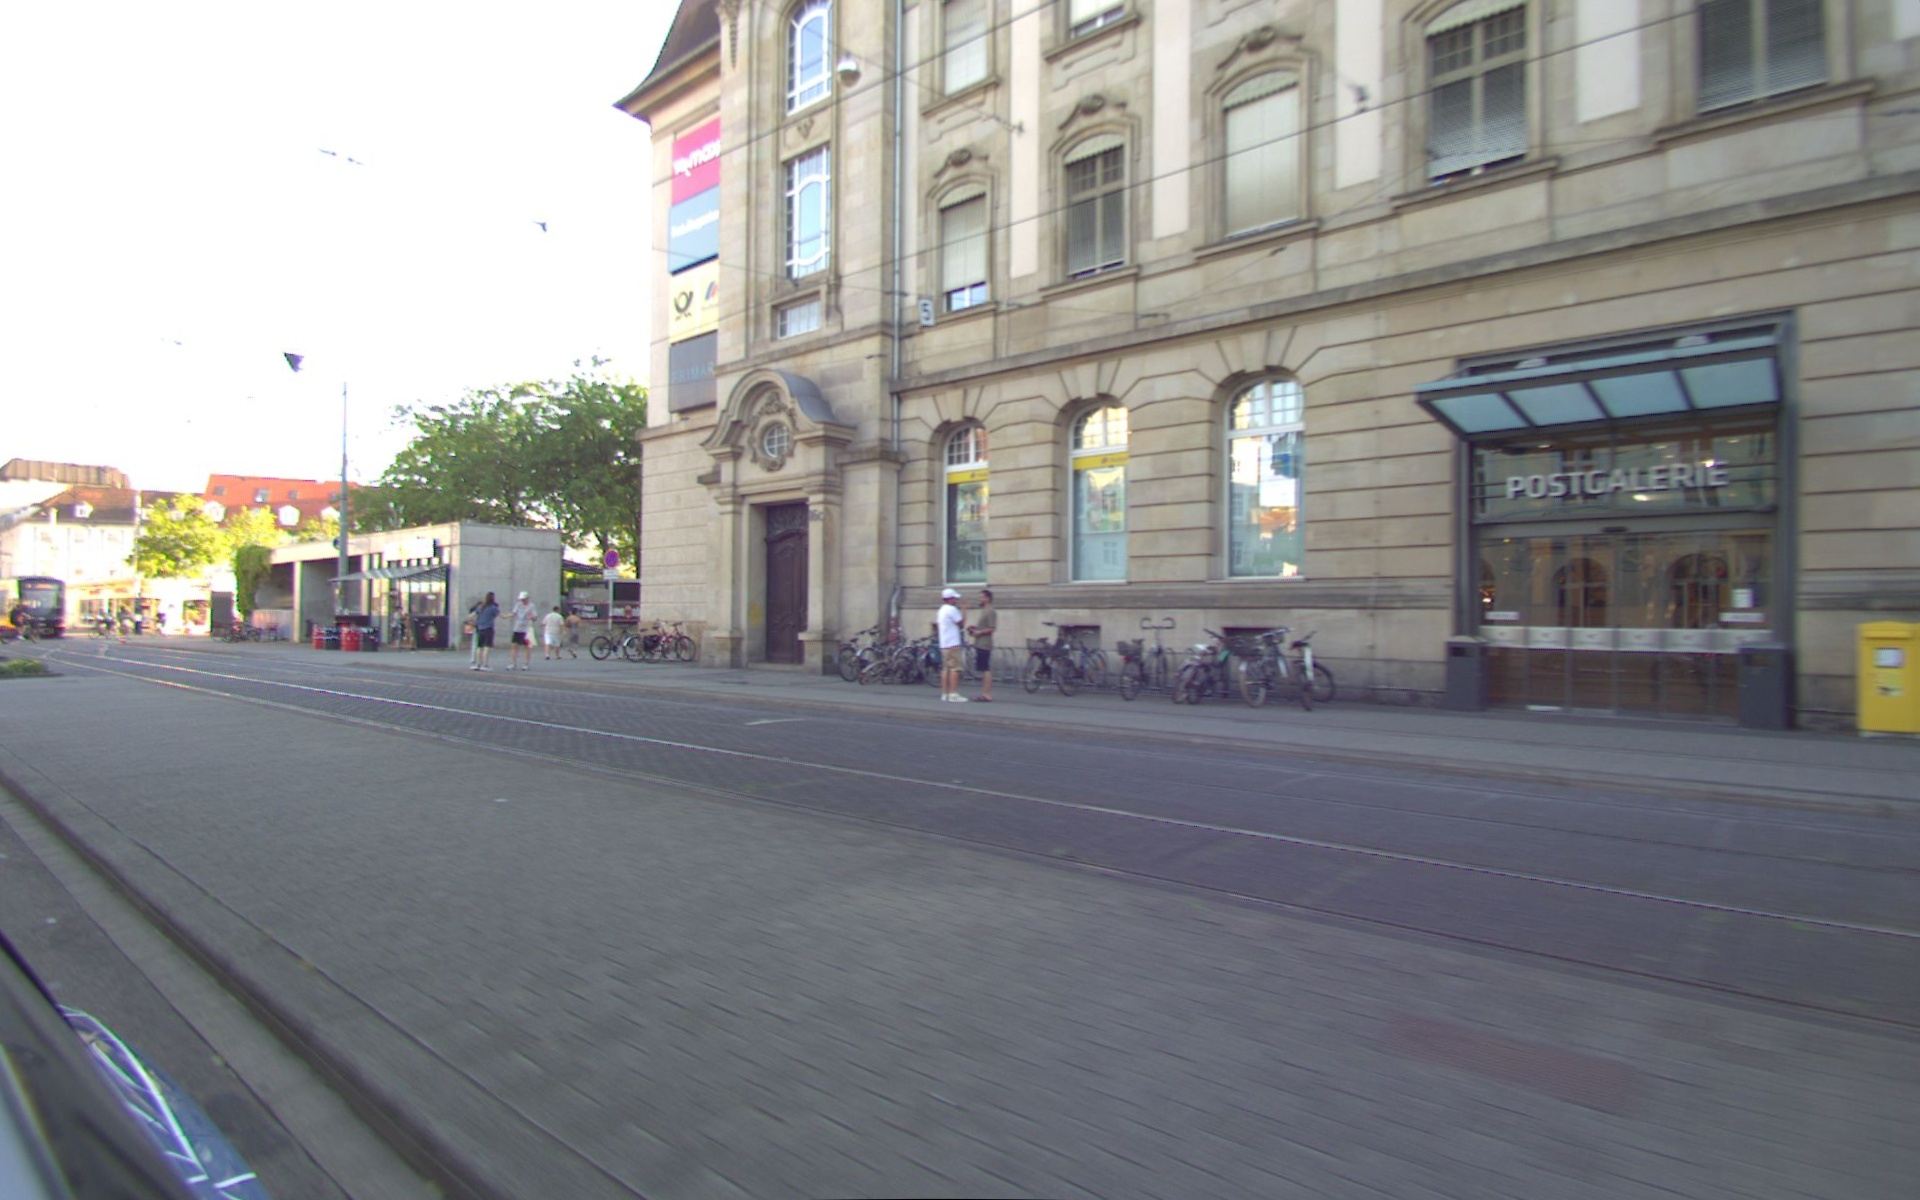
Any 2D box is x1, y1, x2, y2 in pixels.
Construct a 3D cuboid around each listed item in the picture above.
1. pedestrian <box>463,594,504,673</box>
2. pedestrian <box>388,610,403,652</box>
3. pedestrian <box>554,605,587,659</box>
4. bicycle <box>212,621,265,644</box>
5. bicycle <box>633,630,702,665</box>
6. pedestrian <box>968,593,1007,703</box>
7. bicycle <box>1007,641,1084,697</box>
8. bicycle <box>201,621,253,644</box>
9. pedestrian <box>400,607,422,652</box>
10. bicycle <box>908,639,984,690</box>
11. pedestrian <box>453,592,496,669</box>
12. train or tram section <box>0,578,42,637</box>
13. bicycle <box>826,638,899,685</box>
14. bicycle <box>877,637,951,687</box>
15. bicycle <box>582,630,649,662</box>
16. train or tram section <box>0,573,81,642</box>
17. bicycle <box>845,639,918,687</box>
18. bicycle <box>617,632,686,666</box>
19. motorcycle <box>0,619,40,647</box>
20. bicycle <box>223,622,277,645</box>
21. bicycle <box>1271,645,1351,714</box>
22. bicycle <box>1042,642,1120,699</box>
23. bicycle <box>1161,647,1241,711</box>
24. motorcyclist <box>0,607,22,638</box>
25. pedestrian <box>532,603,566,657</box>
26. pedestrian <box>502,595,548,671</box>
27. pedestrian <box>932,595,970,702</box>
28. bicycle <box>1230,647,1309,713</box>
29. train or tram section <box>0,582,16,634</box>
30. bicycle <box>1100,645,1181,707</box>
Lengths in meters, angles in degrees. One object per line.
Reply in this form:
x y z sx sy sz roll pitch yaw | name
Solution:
-10.743 0.745 22.816 0.677 1.749 0.478 0 -3 26 | pedestrian
-22.195 1.216 39.785 0.400 1.665 0.389 0 0 35 | pedestrian
-11.560 0.950 30.072 0.679 1.573 0.653 -1 -1 37 | pedestrian
-37.090 1.679 52.035 0.692 1.168 2.103 -1 -2 42 | bicycle
-8.080 1.305 28.045 0.634 0.875 1.817 0 0 39 | bicycle
0.433 0.737 15.854 0.491 1.686 0.373 0 0 27 | pedestrian
1.515 1.197 17.788 1.557 0.880 0.451 0 0 -45 | bicycle
-38.341 1.679 52.942 0.692 1.168 2.103 -1 -2 42 | bicycle
-20.755 1.095 38.246 0.551 1.665 0.556 0 0 35 | pedestrian
-0.246 1.200 19.138 1.557 0.880 0.451 0 0 -45 | bicycle
-11.259 0.718 23.465 0.593 1.749 0.643 -1 -3 32 | pedestrian
-64.964 0.571 68.416 11.976 3.714 2.865 -1 -2 41 | train or tram section
-1.992 1.249 20.793 1.557 0.880 0.451 0 0 -45 | bicycle
-0.893 1.201 19.834 1.557 0.880 0.451 0 0 -45 | bicycle
-10.155 1.347 29.891 0.634 0.875 1.817 0 0 39 | bicycle
-55.391 0.522 60.121 13.473 3.714 2.865 -1 -2 41 | train or tram section
-1.567 1.249 20.461 1.557 0.880 0.451 0 0 -45 | bicycle
-8.668 1.364 28.469 0.634 0.875 1.817 0 0 39 | bicycle
-44.455 1.544 47.489 0.802 1.247 1.763 0 0 27 | motorcycle
-35.693 1.674 50.877 0.692 1.168 2.103 -1 -2 42 | bicycle
5.109 1.133 14.695 1.557 0.880 0.451 0 0 -45 | bicycle
2.086 1.184 17.278 1.557 0.880 0.451 0 0 -45 | bicycle
3.725 1.194 15.583 1.557 0.880 0.451 0 0 -45 | bicycle
-44.535 1.041 47.288 0.796 1.450 0.792 0 0 28 | motorcyclist
-11.979 0.867 29.492 0.679 1.573 0.653 -1 -1 37 | pedestrian
-10.153 0.766 23.638 0.678 1.749 0.669 -1 -3 30 | pedestrian
-0.140 0.738 15.793 0.370 1.643 0.495 0 0 -34 | pedestrian
4.703 1.192 15.324 1.557 0.880 0.451 0 0 -45 | bicycle
-73.523 0.626 75.893 10.778 3.714 2.865 -1 -2 41 | train or tram section
2.896 1.195 16.143 1.557 0.880 0.451 0 0 -45 | bicycle
